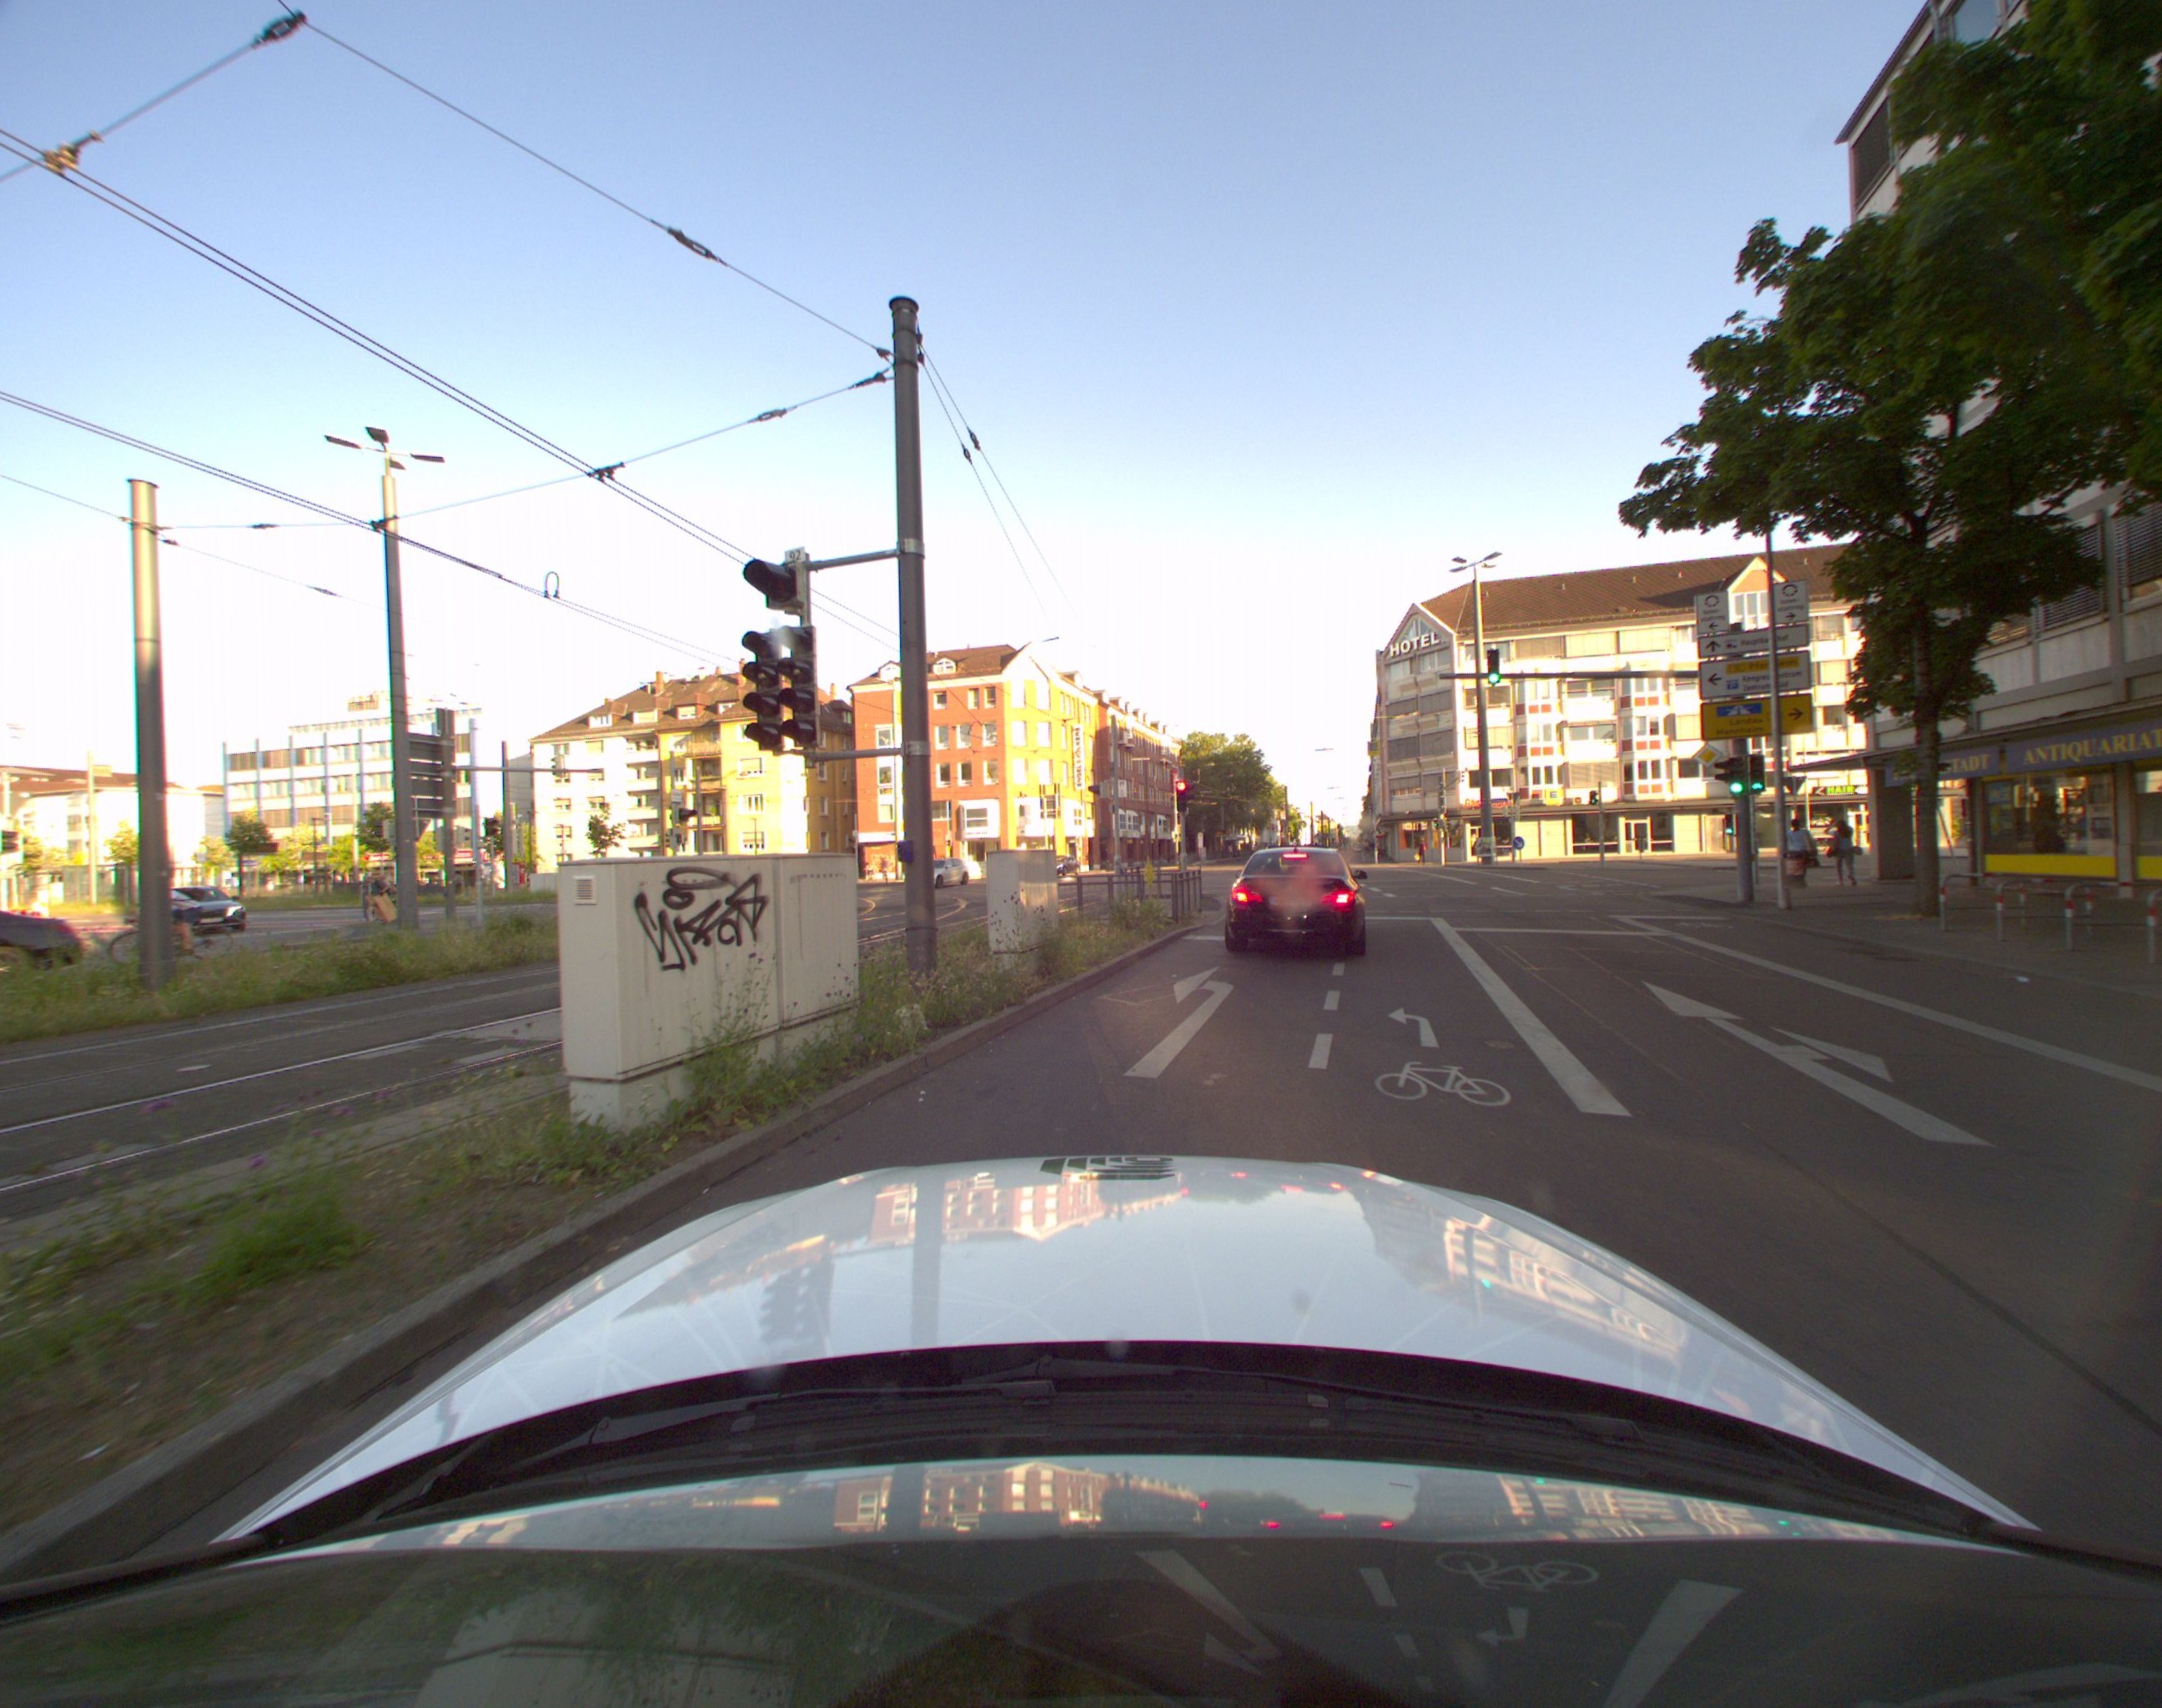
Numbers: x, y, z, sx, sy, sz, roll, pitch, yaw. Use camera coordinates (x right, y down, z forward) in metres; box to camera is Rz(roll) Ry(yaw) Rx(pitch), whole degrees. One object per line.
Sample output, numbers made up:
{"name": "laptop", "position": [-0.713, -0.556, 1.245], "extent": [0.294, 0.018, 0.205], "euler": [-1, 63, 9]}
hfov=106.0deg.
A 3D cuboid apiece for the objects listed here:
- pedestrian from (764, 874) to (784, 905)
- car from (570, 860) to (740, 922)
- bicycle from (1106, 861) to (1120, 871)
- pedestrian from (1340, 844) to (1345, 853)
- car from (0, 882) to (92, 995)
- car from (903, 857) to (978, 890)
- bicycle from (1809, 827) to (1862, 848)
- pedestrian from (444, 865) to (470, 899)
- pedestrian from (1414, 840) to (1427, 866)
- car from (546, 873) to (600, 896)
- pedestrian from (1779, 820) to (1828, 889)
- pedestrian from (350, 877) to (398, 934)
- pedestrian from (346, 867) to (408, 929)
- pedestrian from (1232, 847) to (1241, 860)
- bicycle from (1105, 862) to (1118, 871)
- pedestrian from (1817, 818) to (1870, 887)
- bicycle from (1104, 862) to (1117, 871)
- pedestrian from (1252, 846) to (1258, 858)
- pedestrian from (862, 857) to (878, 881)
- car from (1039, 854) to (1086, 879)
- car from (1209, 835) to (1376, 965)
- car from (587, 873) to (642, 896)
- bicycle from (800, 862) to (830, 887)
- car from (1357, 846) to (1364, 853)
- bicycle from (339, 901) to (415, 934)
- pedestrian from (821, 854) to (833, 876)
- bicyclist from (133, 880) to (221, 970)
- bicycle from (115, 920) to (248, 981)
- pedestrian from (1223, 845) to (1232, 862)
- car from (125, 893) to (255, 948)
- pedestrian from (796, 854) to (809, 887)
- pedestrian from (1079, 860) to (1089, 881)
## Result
{"name": "pedestrian", "position": [-19.284, 2.244, 51.097], "extent": [0.948, 1.868, 0.829], "euler": [-1, 1, -41]}
{"name": "car", "position": [-12.636, 1.050, 24.443], "extent": [1.976, 1.585, 4.136], "euler": [-2, 0, 24]}
{"name": "bicycle", "position": [3.326, 1.224, 83.683], "extent": [1.407, 0.922, 0.444], "euler": [0, 0, 3]}
{"name": "pedestrian", "position": [62.195, -1.265, 193.724], "extent": [0.907, 2.013, 0.891], "euler": [-2, 0, 18]}
{"name": "car", "position": [-16.989, 1.300, 10.710], "extent": [1.978, 1.585, 4.608], "euler": [-2, 0, 18]}
{"name": "car", "position": [-6.903, 0.935, 40.455], "extent": [1.654, 1.448, 4.225], "euler": [-2, 0, 22]}
{"name": "bicycle", "position": [48.482, -1.056, 52.353], "extent": [2.387, 1.265, 0.826], "euler": [-2, 0, 14]}
{"name": "pedestrian", "position": [-35.521, 1.592, 46.338], "extent": [0.716, 1.868, 0.885], "euler": [-2, 0, -1]}
{"name": "pedestrian", "position": [24.136, -0.064, 57.896], "extent": [0.679, 1.854, 0.674], "euler": [-2, 0, 15]}
{"name": "car", "position": [-47.435, 2.828, 76.094], "extent": [3.959, 2.013, 2.007], "euler": [-1, 0, 13]}
{"name": "pedestrian", "position": [17.904, 0.015, 20.194], "extent": [0.678, 1.667, 0.675], "euler": [-2, 0, 22]}
{"name": "pedestrian", "position": [-24.764, 1.792, 28.536], "extent": [0.839, 1.910, 0.897], "euler": [-2, 0, 8]}
{"name": "pedestrian", "position": [-23.314, 1.448, 26.996], "extent": [1.093, 1.944, 1.025], "euler": [-2, 0, 0]}
{"name": "pedestrian", "position": [20.062, -0.086, 105.180], "extent": [0.980, 1.681, 0.729], "euler": [-2, 0, 18]}
{"name": "bicycle", "position": [3.102, 1.264, 82.207], "extent": [1.280, 0.922, 0.350], "euler": [0, 0, 3]}
{"name": "pedestrian", "position": [18.938, -0.037, 20.234], "extent": [0.716, 1.667, 0.675], "euler": [-2, 0, 22]}
{"name": "bicycle", "position": [2.945, 1.269, 81.651], "extent": [1.276, 0.922, 0.351], "euler": [0, 0, 15]}
{"name": "pedestrian", "position": [26.468, -0.318, 123.620], "extent": [0.717, 1.681, 0.996], "euler": [-2, 0, 21]}
{"name": "pedestrian", "position": [-16.754, 1.169, 64.607], "extent": [0.934, 1.868, 0.841], "euler": [0, 0, 10]}
{"name": "car", "position": [-1.247, 0.873, 58.017], "extent": [1.978, 1.585, 4.499], "euler": [-2, 0, 17]}
{"name": "car", "position": [3.313, 0.529, 12.147], "extent": [1.977, 1.585, 4.021], "euler": [0, 1, 21]}
{"name": "car", "position": [-42.725, 2.788, 74.598], "extent": [3.959, 2.013, 2.007], "euler": [-1, 0, 13]}
{"name": "bicycle", "position": [-15.216, 1.170, 46.699], "extent": [0.613, 1.325, 2.024], "euler": [0, 1, 15]}
{"name": "car", "position": [65.511, -1.146, 191.141], "extent": [1.461, 1.515, 3.110], "euler": [-2, 0, 18]}
{"name": "bicycle", "position": [-24.670, 2.217, 28.544], "extent": [1.992, 1.060, 0.897], "euler": [-2, 0, 8]}
{"name": "pedestrian", "position": [-21.841, 0.933, 70.106], "extent": [0.803, 1.868, 0.663], "euler": [0, 0, -3]}
{"name": "bicyclist", "position": [-18.042, 1.389, 16.267], "extent": [0.656, 1.688, 0.985], "euler": [-3, 0, 26]}
{"name": "bicycle", "position": [-17.995, 1.901, 16.334], "extent": [0.660, 1.008, 1.632], "euler": [-3, 0, 26]}
{"name": "pedestrian", "position": [17.992, -0.077, 100.156], "extent": [0.980, 2.013, 0.729], "euler": [-1, 0, 18]}
{"name": "car", "position": [-30.631, 2.244, 27.980], "extent": [4.507, 1.618, 2.013], "euler": [-2, 0, 30]}
{"name": "pedestrian", "position": [-15.877, 0.959, 46.422], "extent": [0.498, 1.868, 0.565], "euler": [0, 0, 14]}
{"name": "pedestrian", "position": [0.268, 1.547, 75.906], "extent": [0.683, 1.868, 0.626], "euler": [-1, 0, -45]}
